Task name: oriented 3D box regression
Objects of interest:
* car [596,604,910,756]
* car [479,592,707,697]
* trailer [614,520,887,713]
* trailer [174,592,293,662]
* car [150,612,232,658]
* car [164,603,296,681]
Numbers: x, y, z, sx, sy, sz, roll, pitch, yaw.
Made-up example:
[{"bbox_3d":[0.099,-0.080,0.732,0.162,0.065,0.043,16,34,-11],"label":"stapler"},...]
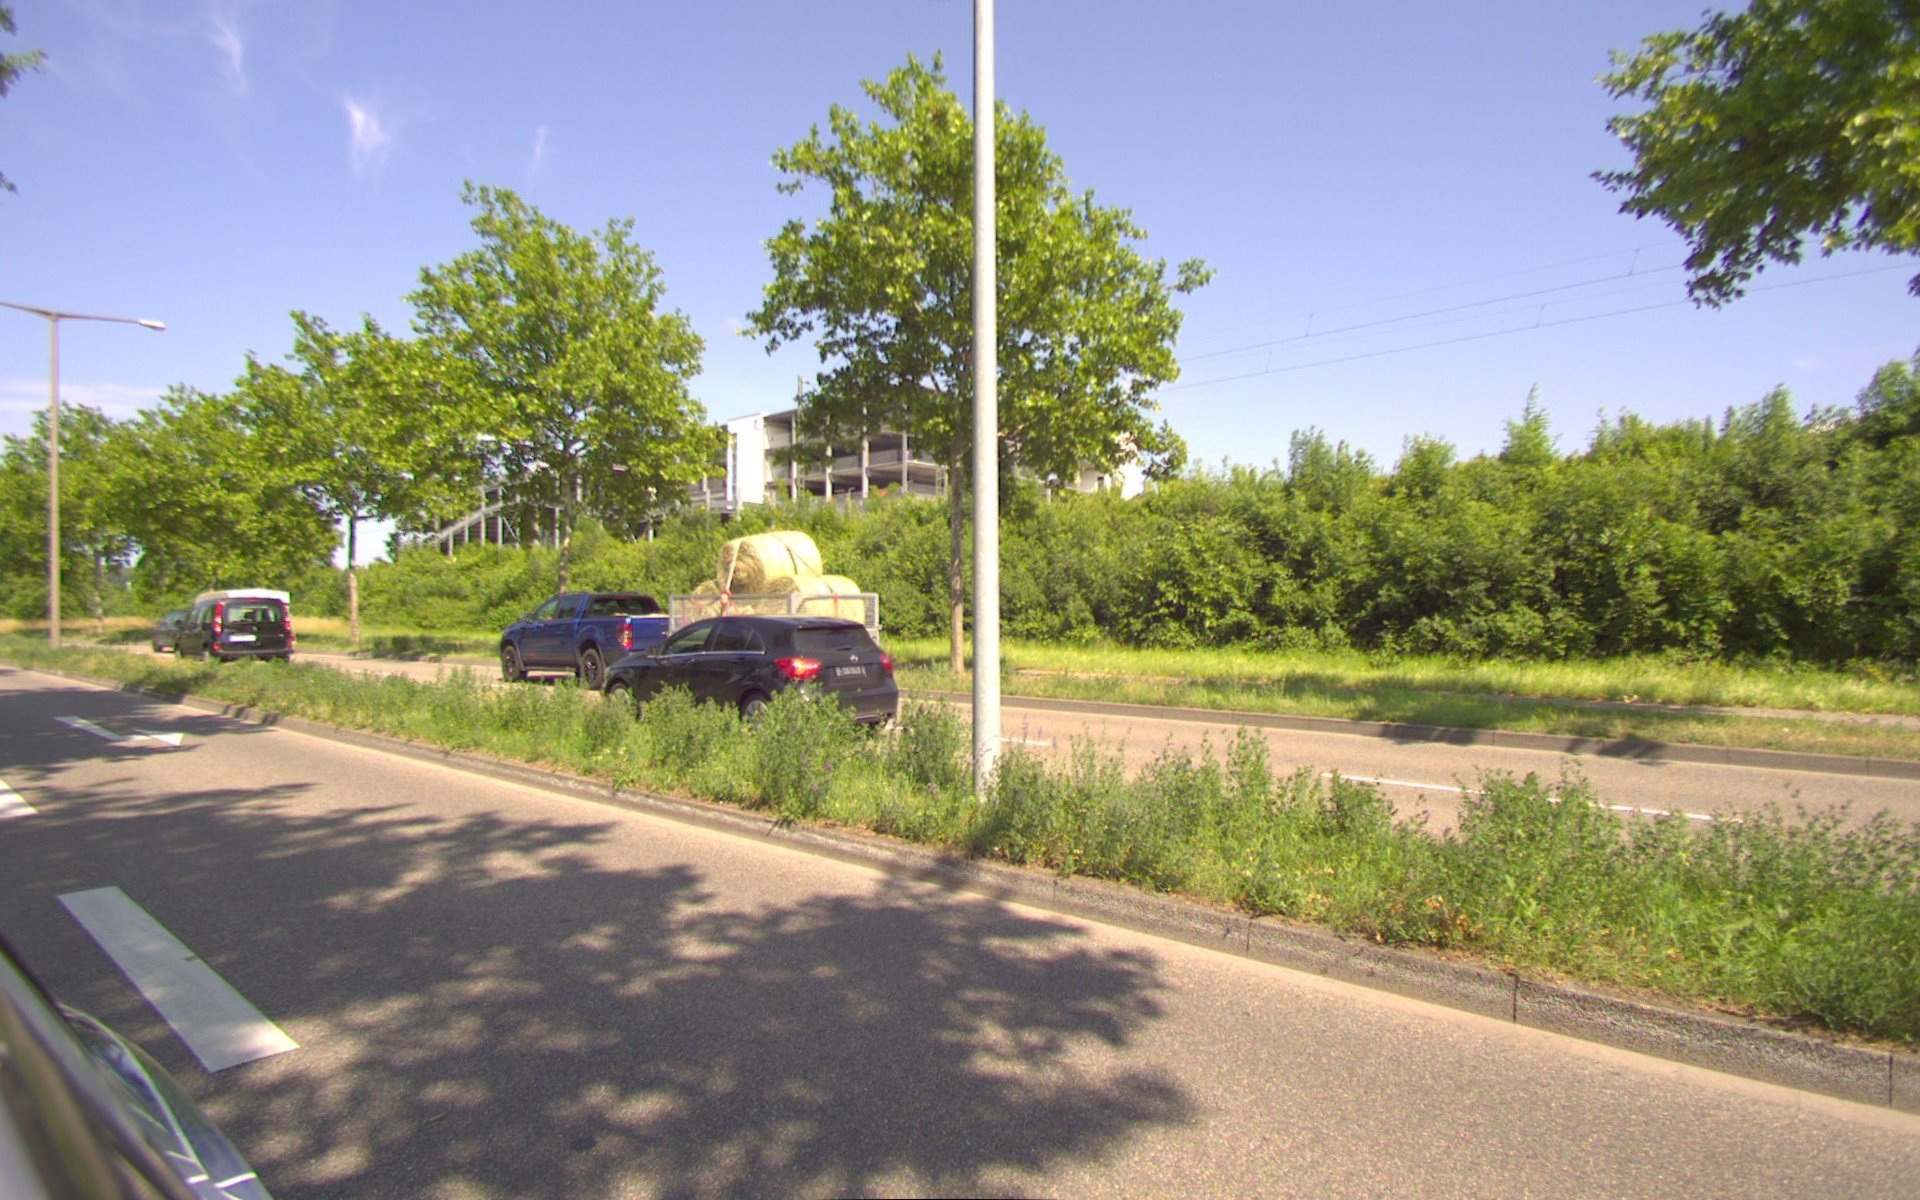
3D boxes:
[{"bbox_3d":[-2.501,0.803,11.771,3.787,1.483,1.586,-1,0,40],"label":"car"},{"bbox_3d":[-7.336,0.783,19.901,5.371,1.803,1.747,-1,1,40],"label":"car"},{"bbox_3d":[-3.592,0.235,16.777,4.826,2.764,1.860,-1,1,41],"label":"trailer"},{"bbox_3d":[-25.626,0.907,35.616,5.536,2.282,2.284,-1,-1,42],"label":"trailer"},{"bbox_3d":[-29.361,1.277,38.574,4.360,1.634,1.697,-1,-1,42],"label":"car"},{"bbox_3d":[-18.914,1.017,26.170,4.228,1.823,1.714,-1,1,39],"label":"car"}]
